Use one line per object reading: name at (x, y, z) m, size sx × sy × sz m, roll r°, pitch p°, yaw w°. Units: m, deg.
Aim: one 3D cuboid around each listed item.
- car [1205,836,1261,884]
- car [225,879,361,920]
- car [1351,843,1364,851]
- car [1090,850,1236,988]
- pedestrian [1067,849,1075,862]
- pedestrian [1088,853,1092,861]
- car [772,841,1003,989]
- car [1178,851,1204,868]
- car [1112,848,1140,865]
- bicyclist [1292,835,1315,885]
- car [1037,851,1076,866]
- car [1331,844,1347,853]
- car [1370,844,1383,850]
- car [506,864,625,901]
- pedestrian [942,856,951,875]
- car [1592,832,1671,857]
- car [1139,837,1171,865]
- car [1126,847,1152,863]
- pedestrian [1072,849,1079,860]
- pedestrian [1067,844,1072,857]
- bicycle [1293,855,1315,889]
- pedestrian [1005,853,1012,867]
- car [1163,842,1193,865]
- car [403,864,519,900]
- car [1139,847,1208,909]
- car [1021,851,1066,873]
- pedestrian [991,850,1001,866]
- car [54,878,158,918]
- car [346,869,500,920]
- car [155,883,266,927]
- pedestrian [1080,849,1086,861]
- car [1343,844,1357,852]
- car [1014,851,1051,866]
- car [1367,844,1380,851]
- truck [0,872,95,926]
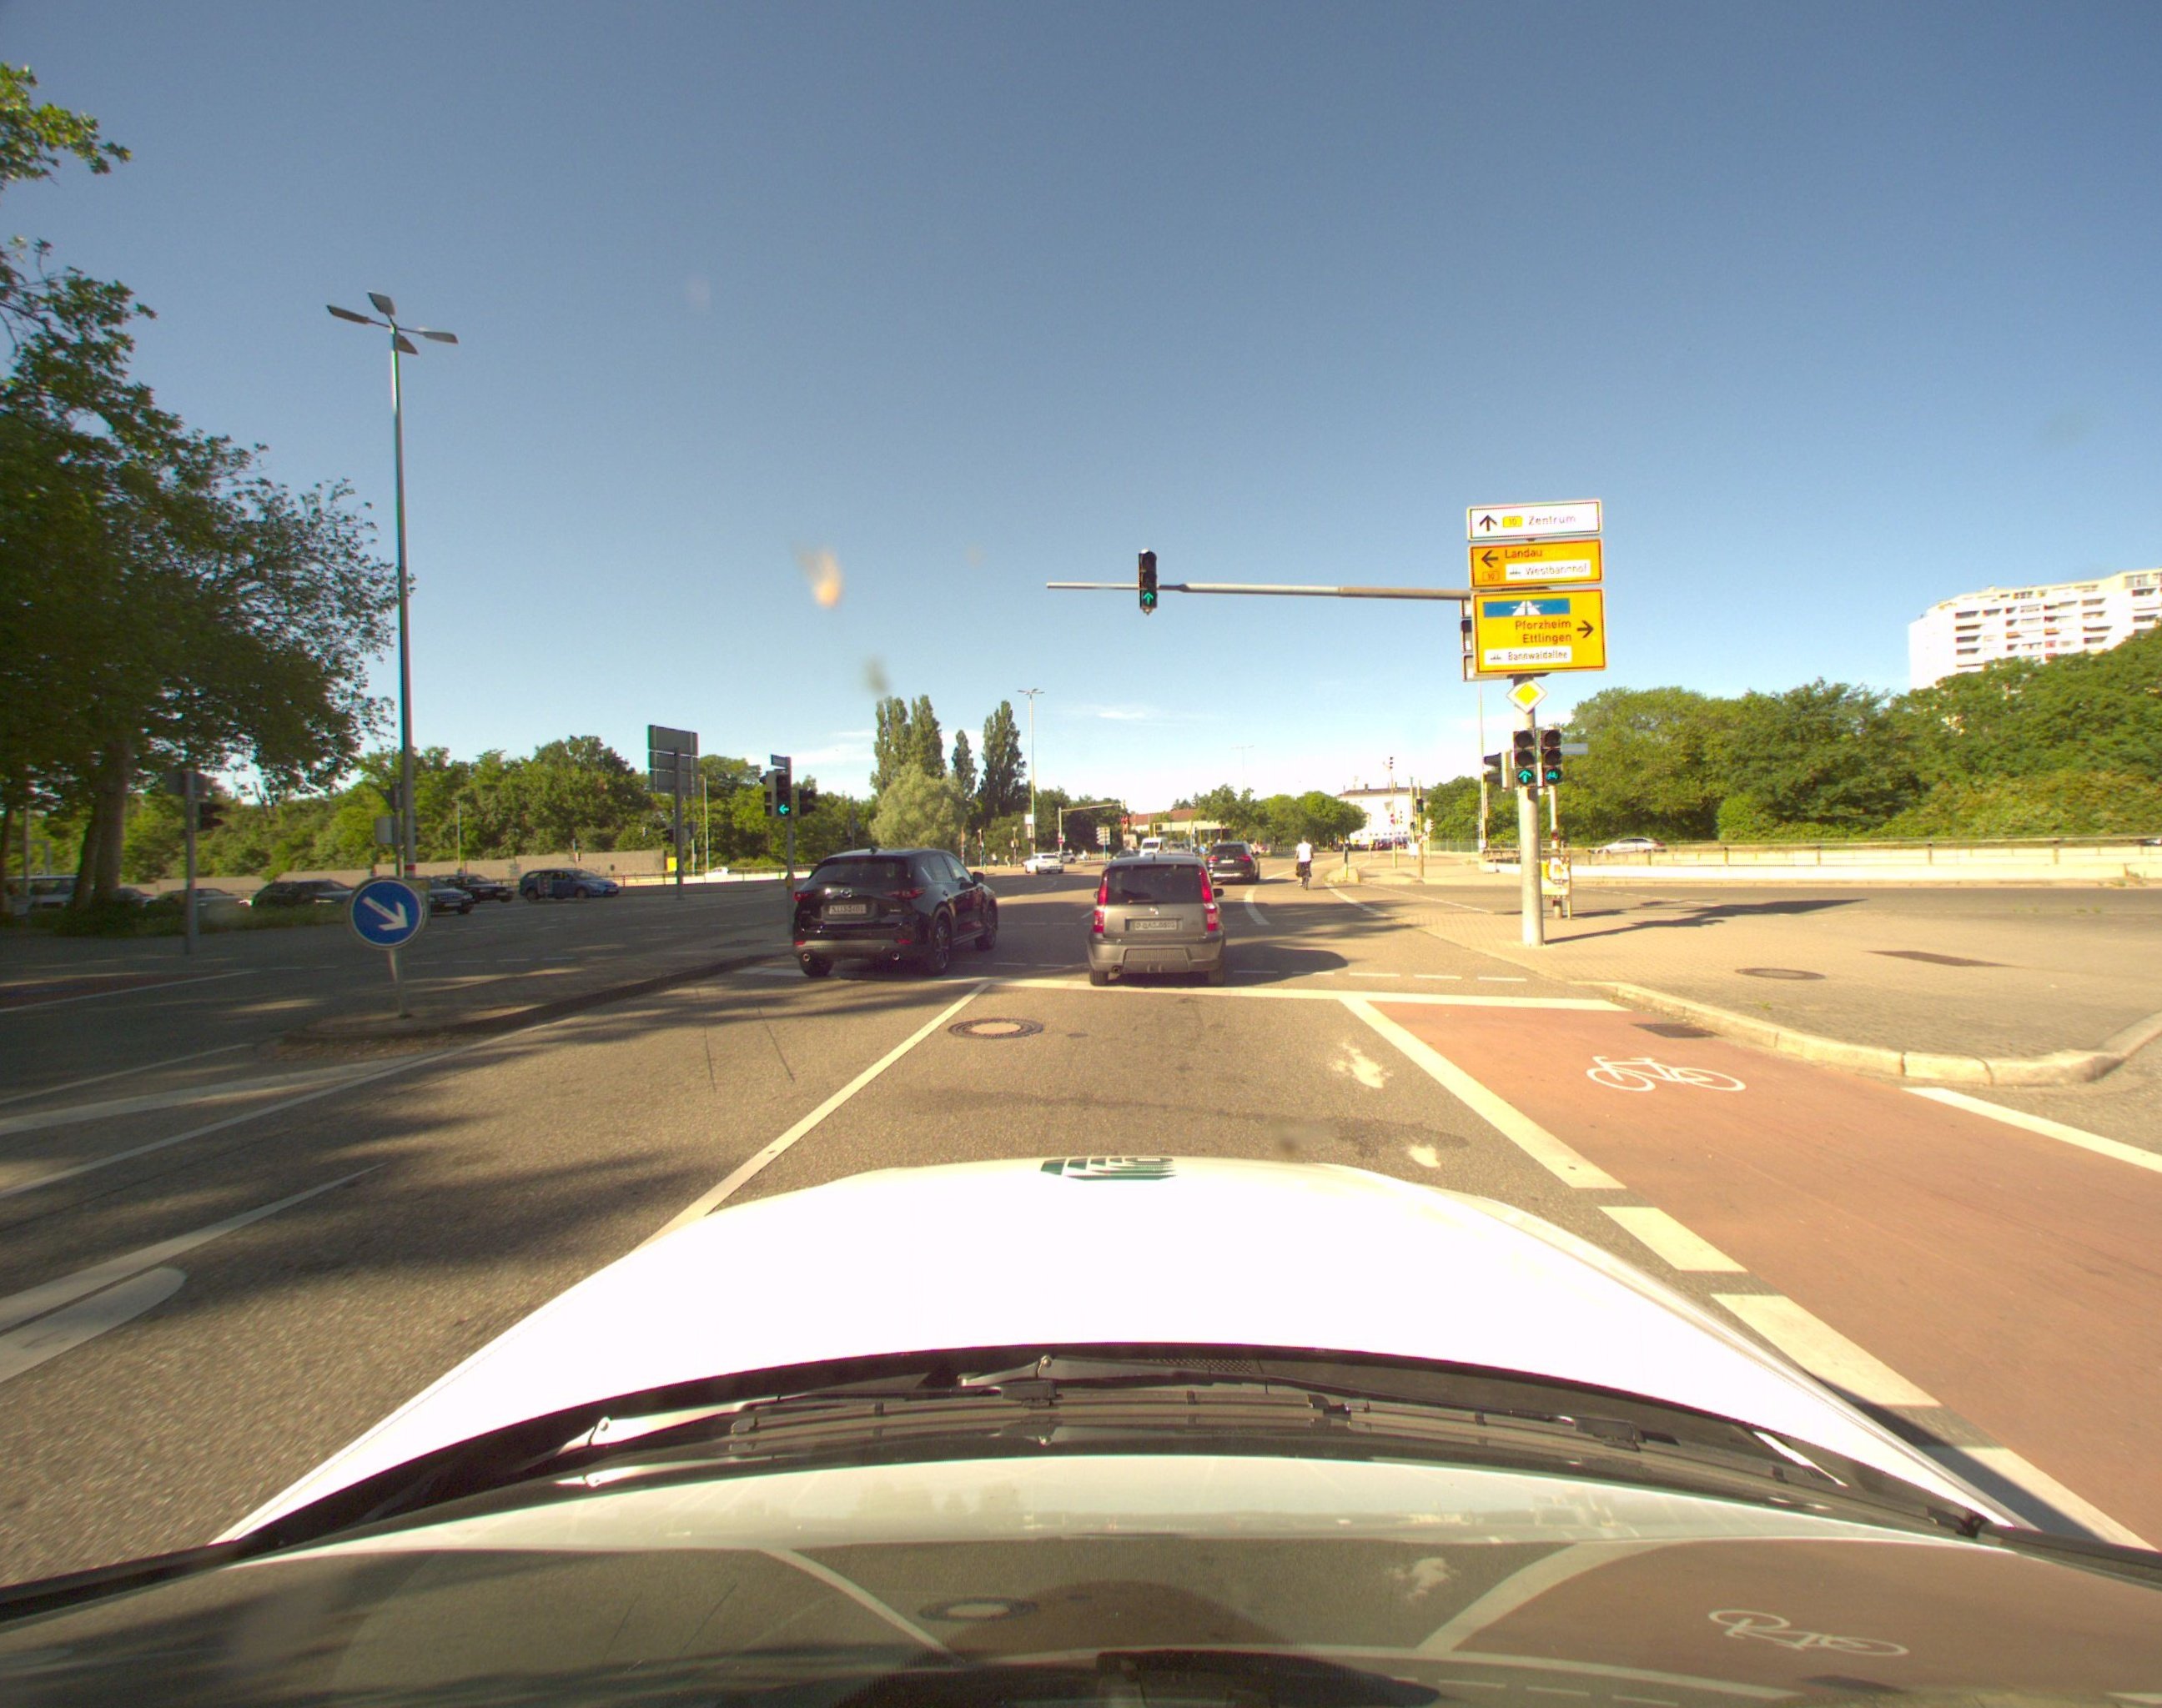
car at (6.379, 0.208, 33.830) m, size 1.931 × 1.840 × 4.170 m, roll 0°, pitch 1°, yaw 15°
car at (-29.372, 1.692, 30.377) m, size 4.456 × 1.358 × 1.890 m, roll -2°, pitch 0°, yaw 21°
car at (56.466, -1.407, 166.261) m, size 1.927 × 1.528 × 4.121 m, roll -2°, pitch 0°, yaw 25°
car at (1.117, 0.713, 10.968) m, size 1.609 × 1.515 × 3.826 m, roll 0°, pitch 0°, yaw 6°
pedestrian at (-1.315, 0.206, 107.735) m, size 0.782 × 1.664 × 0.633 m, roll -1°, pitch -2°, yaw 29°
pedestrian at (1.222, 0.403, 112.612) m, size 0.419 × 1.136 × 0.400 m, roll -1°, pitch -2°, yaw 21°
car at (-2.503, 0.723, 11.729) m, size 1.864 × 1.709 × 4.204 m, roll -2°, pitch 0°, yaw 6°
car at (11.155, 0.547, 82.347) m, size 1.922 × 1.622 × 4.525 m, roll -2°, pitch 0°, yaw 16°
car at (4.518, 0.247, 81.277) m, size 1.923 × 1.507 × 4.015 m, roll -3°, pitch 0°, yaw 14°
bicyclist at (7.702, 0.200, 28.189) m, size 0.719 × 1.659 × 1.117 m, roll -1°, pitch 0°, yaw 14°
car at (-2.697, 0.494, 91.330) m, size 1.763 × 1.535 × 4.354 m, roll 0°, pitch 1°, yaw 45°
car at (43.096, -0.940, 136.022) m, size 1.928 × 1.528 × 4.121 m, roll -2°, pitch 0°, yaw 24°
car at (78.500, -1.951, 216.318) m, size 1.926 × 1.528 × 4.123 m, roll -2°, pitch 0°, yaw 38°
car at (-23.881, 1.301, 37.807) m, size 4.417 × 1.540 × 1.957 m, roll -2°, pitch 0°, yaw 9°
pedestrian at (-10.512, 0.889, 63.519) m, size 0.679 × 1.463 × 0.700 m, roll -2°, pitch 0°, yaw -10°
car at (37.653, -0.663, 55.782) m, size 4.191 × 1.552 × 1.872 m, roll -2°, pitch 0°, yaw 43°
car at (7.354, -0.342, 80.865) m, size 1.922 × 2.576 × 6.115 m, roll -2°, pitch 0°, yaw 16°
car at (6.307, 0.115, 88.402) m, size 1.797 × 1.541 × 4.636 m, roll -3°, pitch 0°, yaw 15°
pedestrian at (-0.791, 0.007, 112.869) m, size 0.664 × 1.503 × 0.784 m, roll -1°, pitch -2°, yaw 36°
pedestrian at (-1.571, -0.447, 107.747) m, size 0.494 × 1.702 × 0.502 m, roll -1°, pitch -2°, yaw 20°
bicycle at (7.718, 0.611, 28.253) m, size 0.686 × 1.102 × 1.833 m, roll -1°, pitch 0°, yaw 14°
pedestrian at (-7.871, 0.639, 88.036) m, size 0.558 × 1.547 × 0.572 m, roll -2°, pitch -1°, yaw -20°
car at (9.219, -0.092, 77.080) m, size 1.922 × 2.008 × 4.953 m, roll -2°, pitch 0°, yaw 16°
car at (-29.615, 1.339, 38.966) m, size 4.414 × 1.540 × 1.958 m, roll -2°, pitch 0°, yaw 12°
car at (2.484, 0.556, 21.202) m, size 1.608 × 1.463 × 3.760 m, roll 0°, pitch 0°, yaw 9°
car at (-2.641, 0.531, 56.105) m, size 1.787 × 1.415 × 4.288 m, roll -2°, pitch 0°, yaw -21°
pedestrian at (-8.235, 0.403, 78.723) m, size 0.711 × 1.547 × 0.724 m, roll -2°, pitch -1°, yaw -19°
car at (-44.194, 1.980, 36.906) m, size 4.453 × 1.644 × 1.891 m, roll -2°, pitch 0°, yaw 24°
car at (-22.914, 1.406, 28.376) m, size 4.729 × 1.621 × 1.962 m, roll -2°, pitch 0°, yaw 20°
car at (-36.671, 2.125, 34.301) m, size 4.146 × 1.700 × 1.825 m, roll -2°, pitch 0°, yaw 23°
pedestrian at (0.301, 0.132, 112.792) m, size 0.714 × 1.641 × 0.676 m, roll -1°, pitch -2°, yaw 21°
car at (49.639, -1.126, 150.053) m, size 1.927 × 1.528 × 4.121 m, roll -2°, pitch 0°, yaw 24°
car at (-5.584, 0.569, 93.511) m, size 4.022 × 1.625 × 1.878 m, roll 1°, pitch -2°, yaw -42°
car at (71.931, -1.649, 200.209) m, size 1.926 × 1.528 × 4.124 m, roll -2°, pitch 0°, yaw 33°
truck at (-51.415, 2.182, 39.832) m, size 7.422 × 2.360 × 2.176 m, roll -2°, pitch 0°, yaw 24°
